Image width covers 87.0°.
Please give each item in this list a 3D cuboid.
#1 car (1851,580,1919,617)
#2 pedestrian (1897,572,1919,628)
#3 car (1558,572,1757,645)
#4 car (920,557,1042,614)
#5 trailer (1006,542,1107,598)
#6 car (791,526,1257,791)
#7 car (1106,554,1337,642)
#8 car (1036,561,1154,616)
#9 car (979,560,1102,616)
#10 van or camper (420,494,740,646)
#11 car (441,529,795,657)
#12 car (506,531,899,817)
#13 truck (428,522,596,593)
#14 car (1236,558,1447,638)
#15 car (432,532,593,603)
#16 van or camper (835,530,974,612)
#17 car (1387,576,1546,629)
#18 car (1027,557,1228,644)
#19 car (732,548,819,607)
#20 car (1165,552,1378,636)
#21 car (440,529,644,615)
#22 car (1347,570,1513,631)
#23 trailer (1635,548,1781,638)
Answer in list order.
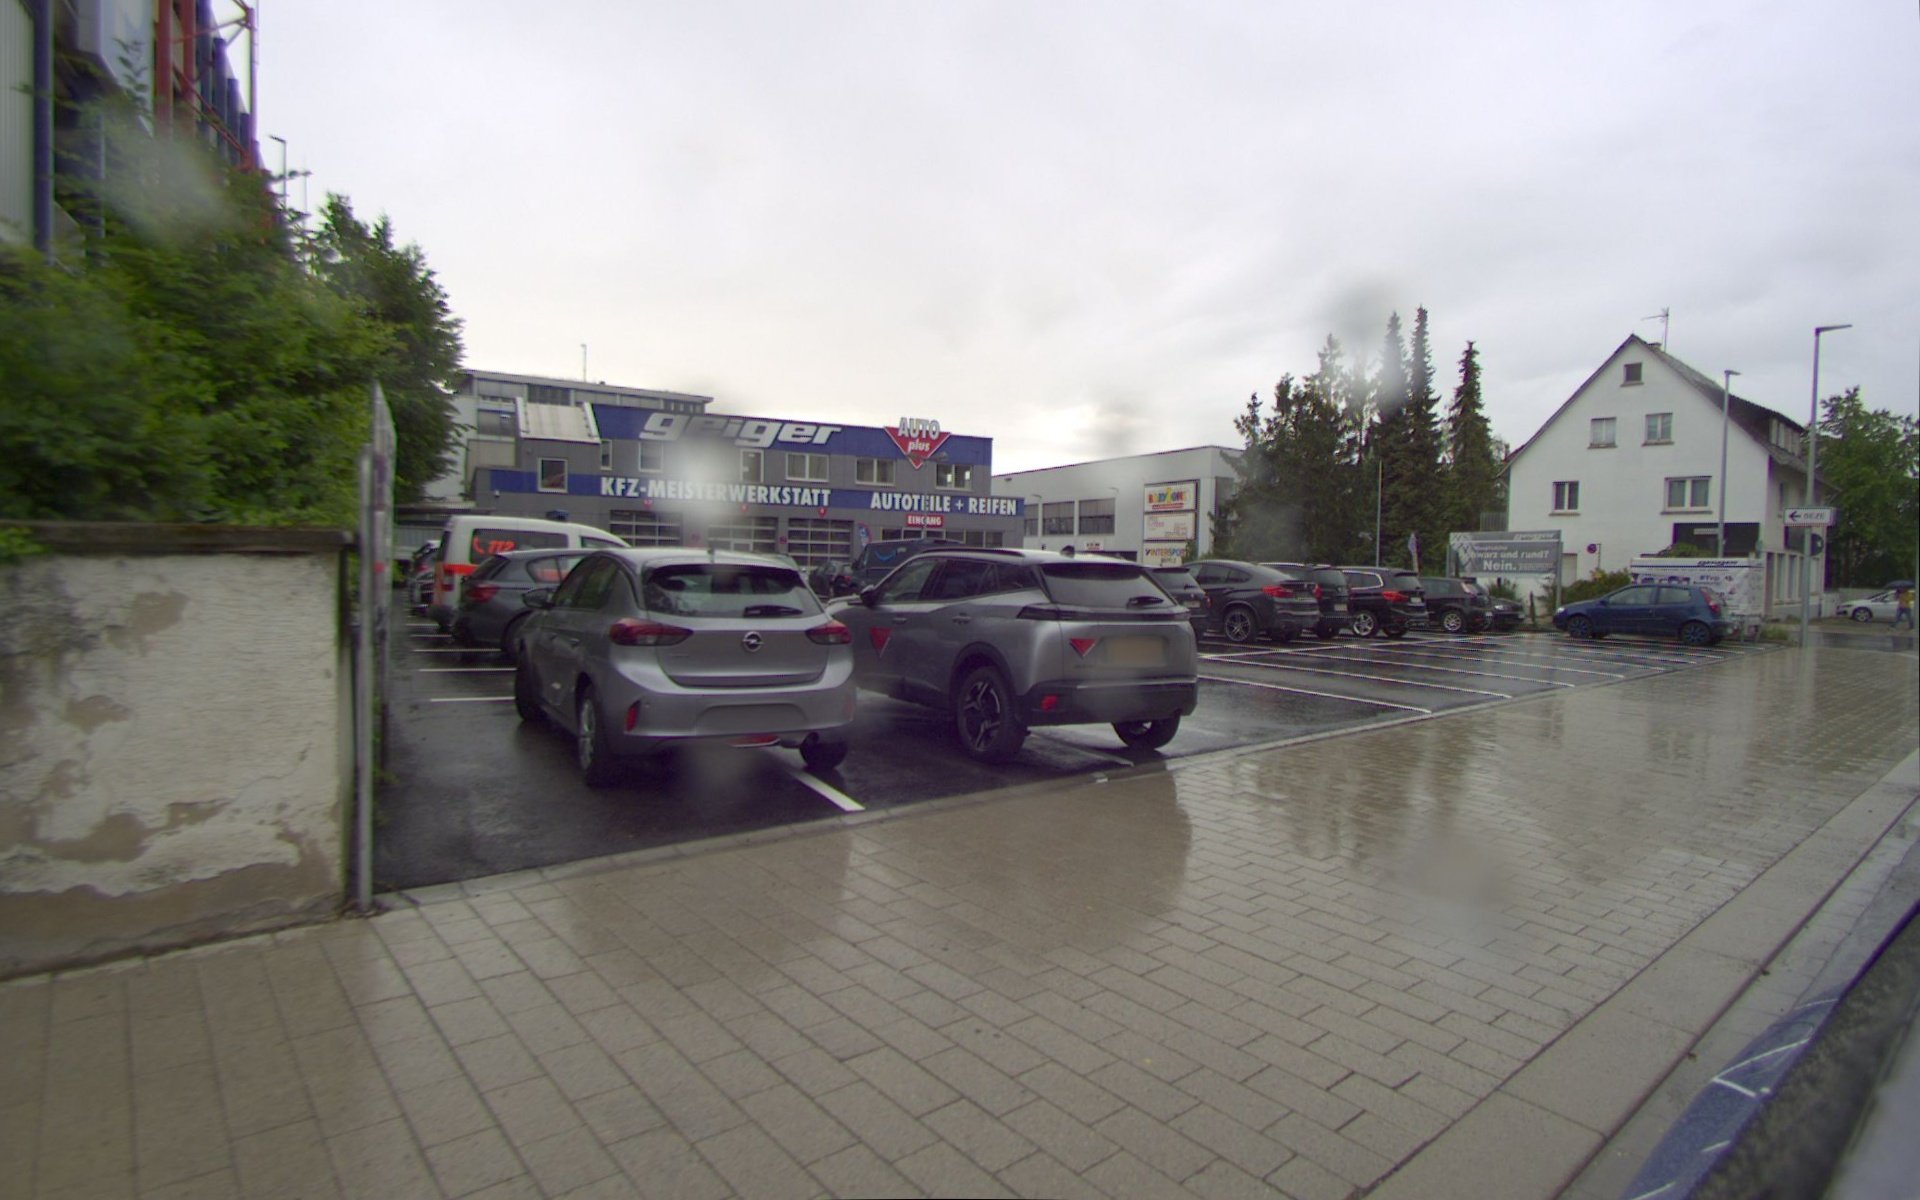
[{"bbox_3d":[45.122,-0.015,47.898,4.118,1.599,1.975,5,3,36],"label":"car"},{"bbox_3d":[35.822,-0.016,37.908,1.175,2.038,0.860,0,4,-43],"label":"pedestrian"},{"bbox_3d":[17.223,0.143,25.131,1.621,1.547,3.734,-1,4,-40],"label":"car"},{"bbox_3d":[0.601,-0.513,32.700,1.828,1.602,4.375,1,3,-31],"label":"car"},{"bbox_3d":[5.193,-1.586,55.608,2.875,2.770,5.898,-2,0,-24],"label":"trailer"},{"bbox_3d":[0.243,0.247,8.786,1.960,1.669,4.228,0,4,-31],"label":"car"},{"bbox_3d":[5.317,-0.122,21.035,1.808,1.578,4.363,0,3,-42],"label":"car"},{"bbox_3d":[4.615,-0.445,35.221,1.828,1.687,4.146,1,3,-31],"label":"car"},{"bbox_3d":[2.579,-0.435,33.609,1.828,1.602,4.375,1,3,-31],"label":"car"},{"bbox_3d":[-5.820,-0.432,15.611,4.371,2.062,1.846,0,2,-29],"label":"van or camper"},{"bbox_3d":[-4.498,-0.105,13.462,4.124,1.460,1.940,0,2,-32],"label":"car"},{"bbox_3d":[-2.090,0.297,7.367,1.770,1.513,3.637,0,3,-31],"label":"car"},{"bbox_3d":[-15.860,-1.508,35.894,5.203,2.298,2.001,-2,0,-31],"label":"truck"},{"bbox_3d":[9.016,-0.110,24.223,1.813,1.672,4.362,0,2,-42],"label":"car"},{"bbox_3d":[-12.586,-0.929,28.477,3.921,1.837,1.899,-2,0,-30],"label":"car"},{"bbox_3d":[-1.867,-0.973,32.015,2.179,2.354,4.976,0,3,-33],"label":"van or camper"},{"bbox_3d":[14.527,0.033,29.148,1.665,1.331,3.730,0,3,-43],"label":"car"},{"bbox_3d":[3.165,-0.057,19.669,1.613,1.519,3.695,0,2,-40],"label":"car"},{"bbox_3d":[-6.500,-0.735,35.245,1.905,1.839,4.005,-2,0,-26],"label":"car"},{"bbox_3d":[6.953,-0.211,22.968,1.754,1.679,4.366,0,3,-39],"label":"car"},{"bbox_3d":[-9.069,-0.588,21.989,3.919,1.699,1.739,1,2,-29],"label":"car"},{"bbox_3d":[12.743,-0.040,27.575,1.702,1.467,3.730,0,2,-43],"label":"car"},{"bbox_3d":[19.390,-0.222,26.296,1.520,2.198,2.709,0,2,-38],"label":"trailer"}]
